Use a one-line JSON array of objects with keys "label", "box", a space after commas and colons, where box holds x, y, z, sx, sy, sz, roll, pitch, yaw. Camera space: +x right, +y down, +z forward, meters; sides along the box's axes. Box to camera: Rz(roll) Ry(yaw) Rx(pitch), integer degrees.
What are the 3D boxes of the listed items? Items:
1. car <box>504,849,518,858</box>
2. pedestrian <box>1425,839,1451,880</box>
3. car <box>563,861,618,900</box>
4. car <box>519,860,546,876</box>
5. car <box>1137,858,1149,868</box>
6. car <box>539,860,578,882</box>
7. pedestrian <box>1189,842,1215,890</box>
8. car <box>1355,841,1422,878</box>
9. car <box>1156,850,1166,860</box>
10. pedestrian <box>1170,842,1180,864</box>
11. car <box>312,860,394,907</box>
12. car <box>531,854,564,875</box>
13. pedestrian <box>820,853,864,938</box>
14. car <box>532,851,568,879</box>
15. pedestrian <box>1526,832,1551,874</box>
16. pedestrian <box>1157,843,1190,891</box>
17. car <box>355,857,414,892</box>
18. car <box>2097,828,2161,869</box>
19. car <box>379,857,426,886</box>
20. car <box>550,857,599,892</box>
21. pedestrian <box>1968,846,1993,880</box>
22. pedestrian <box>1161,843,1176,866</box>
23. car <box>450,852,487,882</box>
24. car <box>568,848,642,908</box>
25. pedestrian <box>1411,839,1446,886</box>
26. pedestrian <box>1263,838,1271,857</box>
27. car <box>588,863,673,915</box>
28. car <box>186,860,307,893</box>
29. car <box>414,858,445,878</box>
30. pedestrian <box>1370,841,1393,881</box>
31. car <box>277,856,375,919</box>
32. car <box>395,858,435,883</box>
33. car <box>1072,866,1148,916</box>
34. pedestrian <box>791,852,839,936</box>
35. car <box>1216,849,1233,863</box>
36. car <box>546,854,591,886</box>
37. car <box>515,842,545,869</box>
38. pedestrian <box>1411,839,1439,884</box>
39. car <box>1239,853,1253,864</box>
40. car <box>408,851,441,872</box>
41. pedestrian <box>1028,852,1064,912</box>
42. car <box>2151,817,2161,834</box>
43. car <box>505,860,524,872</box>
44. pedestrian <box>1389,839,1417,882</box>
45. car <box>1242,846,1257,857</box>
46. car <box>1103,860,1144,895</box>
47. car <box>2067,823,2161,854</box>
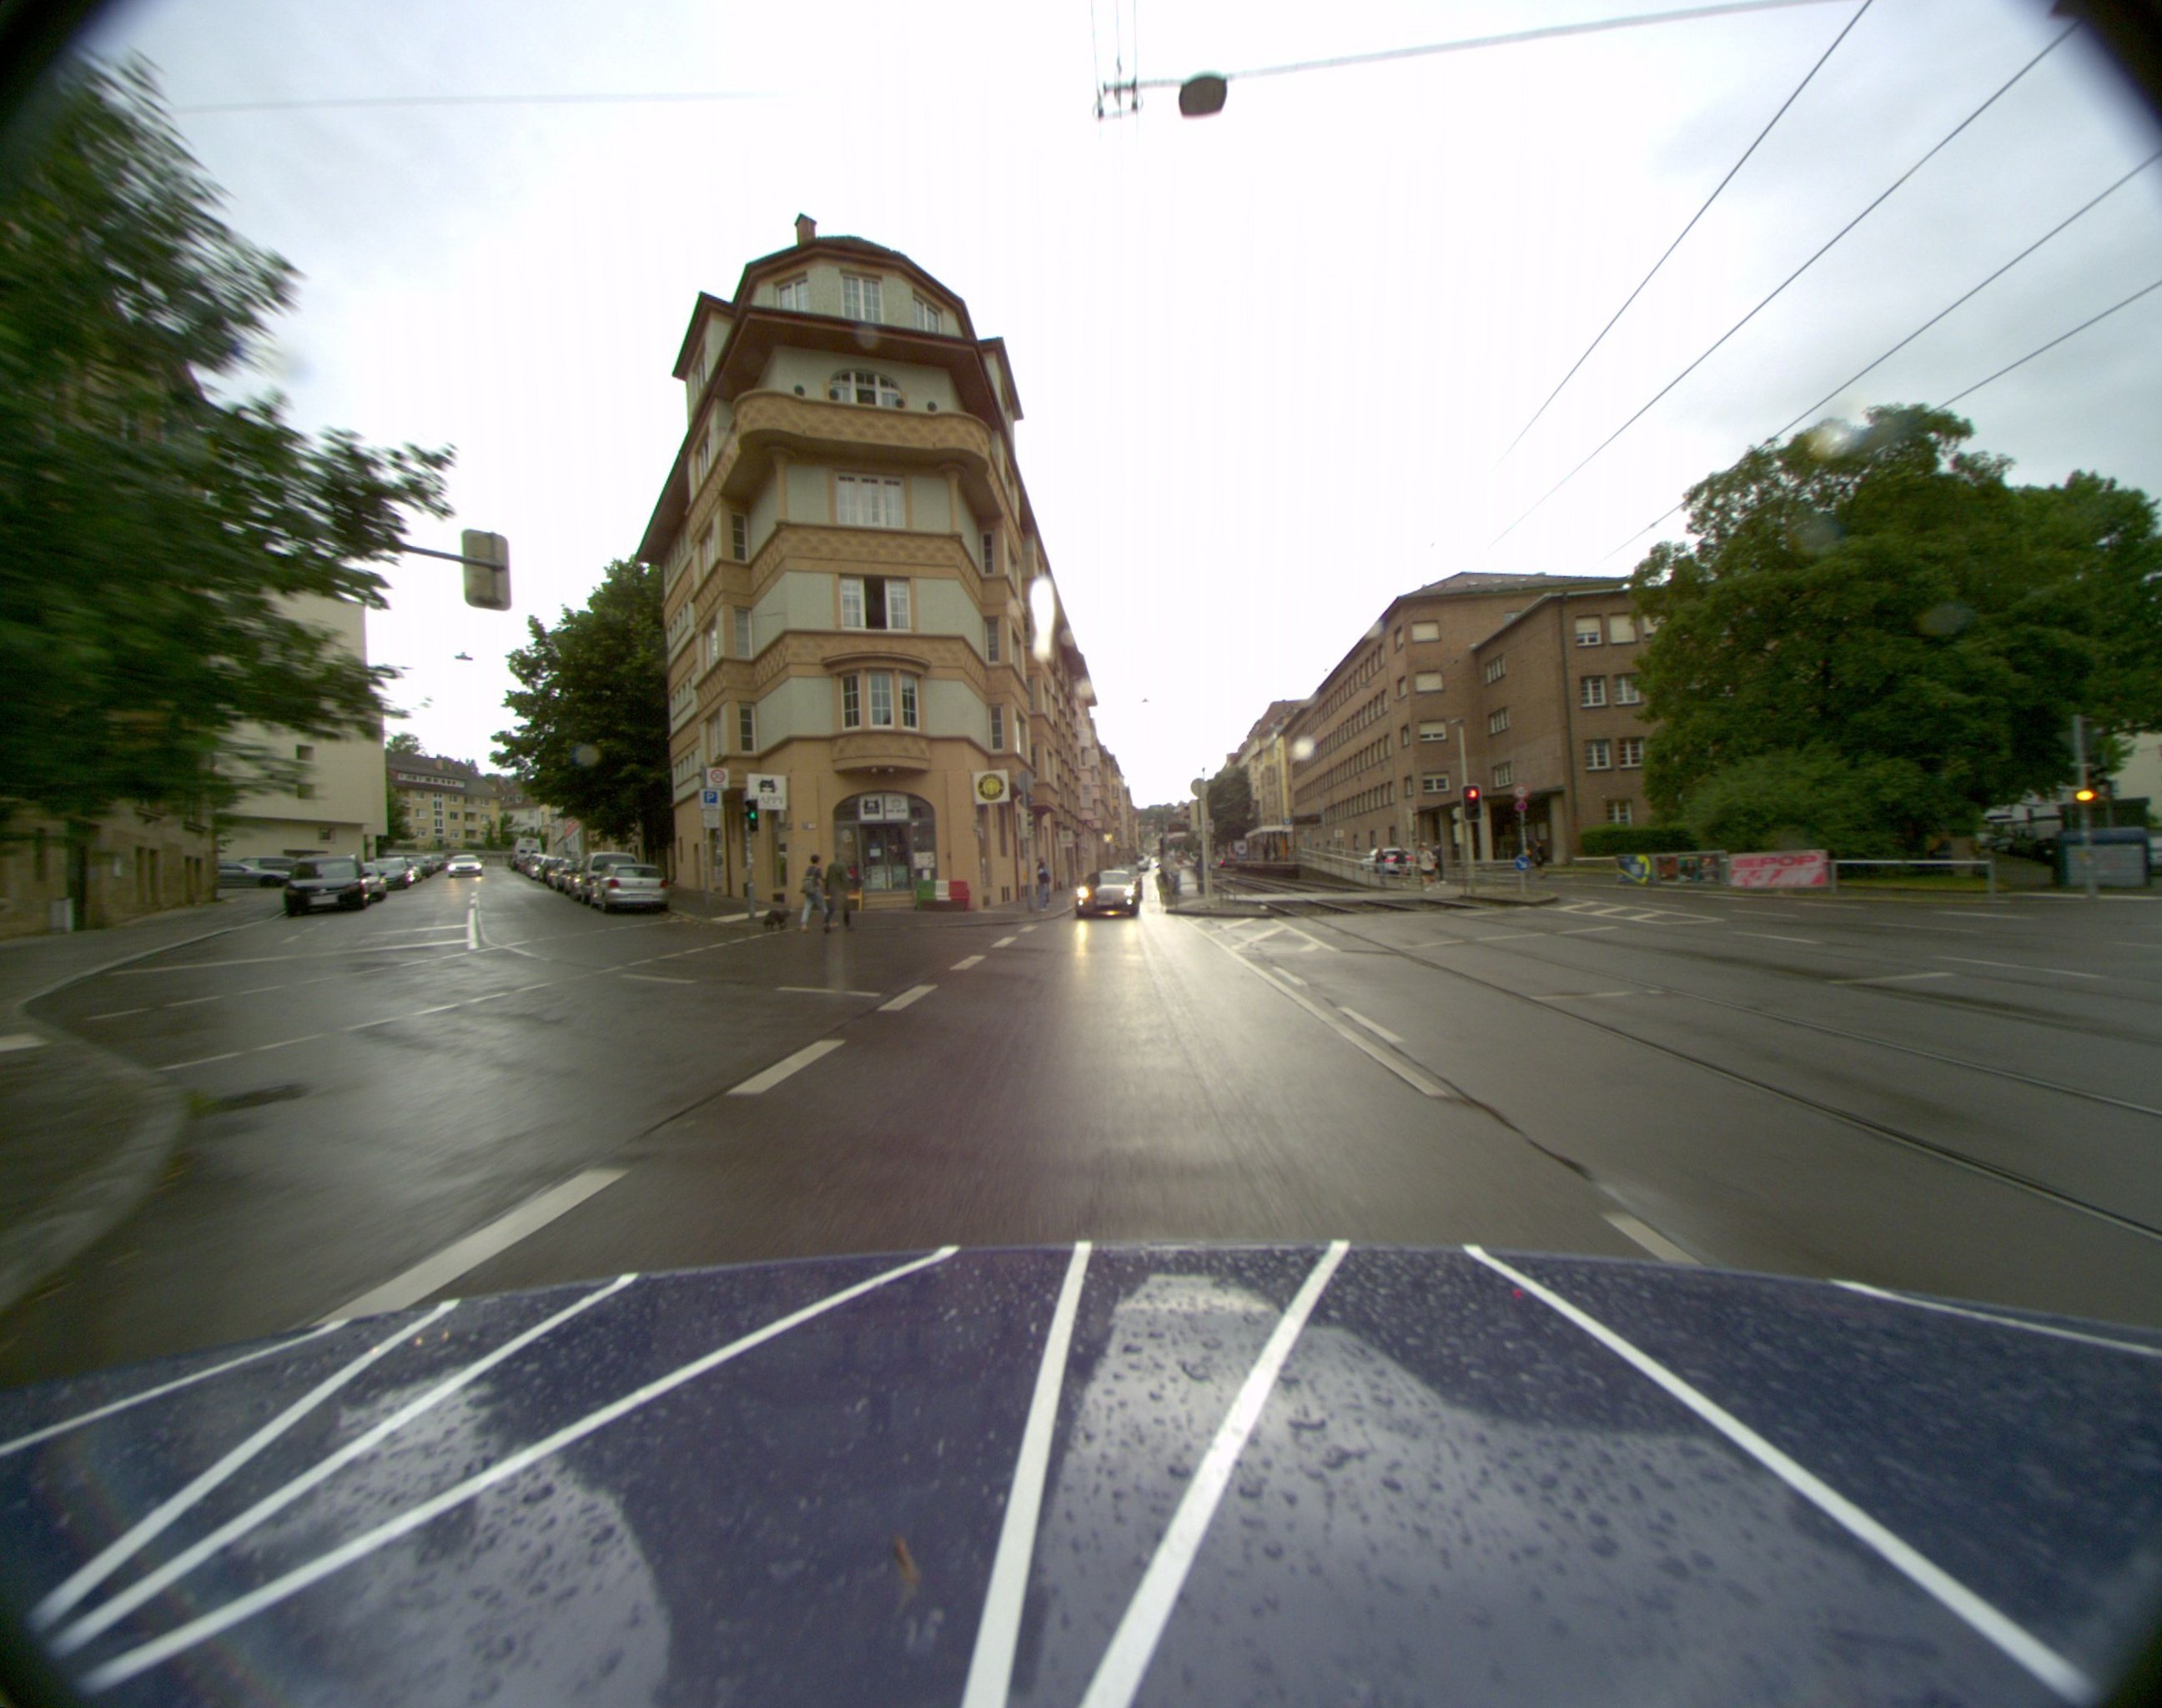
[{"label": "car", "box": [-87.613, -0.035, 116.823, 1.449, 1.166, 3.275, -5, 3, -39]}, {"label": "pedestrian", "box": [14.575, 0.216, 31.013, 0.766, 1.640, 0.649, -2, 0, 5]}, {"label": "car", "box": [-19.481, 1.031, 30.131, 1.449, 1.417, 3.290, -3, 1, -39]}, {"label": "car", "box": [-44.209, 1.103, 61.206, 1.449, 1.166, 3.275, -5, 3, -39]}, {"label": "car", "box": [9.872, 1.488, 120.350, 1.632, 1.443, 4.002, -3, 0, 7]}, {"label": "car", "box": [-29.248, 0.942, 42.489, 1.449, 1.119, 3.069, -5, 3, -39]}, {"label": "pedestrian", "box": [5.177, 0.501, 32.569, 0.899, 2.002, 0.948, -4, 0, 6]}, {"label": "car", "box": [17.222, 0.267, 42.876, 1.998, 1.619, 5.250, -1, 4, 5]}, {"label": "car", "box": [16.680, 0.242, 158.570, 1.805, 1.892, 4.001, -1, 0, 2]}, {"label": "pedestrian", "box": [7.718, -0.093, 62.322, 0.645, 1.764, 0.711, -4, 0, 6]}, {"label": "car", "box": [-27.832, 1.074, 29.185, 1.749, 1.501, 3.989, -8, 4, -38]}, {"label": "car", "box": [-34.734, 0.688, 49.441, 1.449, 1.166, 3.275, -5, 3, -39]}, {"label": "pedestrian", "box": [-5.138, 0.866, 16.376, 0.595, 1.778, 0.891, -1, 1, 2]}, {"label": "car", "box": [-32.465, 0.669, 46.410, 1.449, 1.565, 3.275, -5, 3, -39]}, {"label": "pedestrian", "box": [18.860, -0.035, 31.348, 0.605, 1.665, 0.689, -2, 0, 3]}, {"label": "pedestrian", "box": [4.011, 0.565, 32.965, 0.949, 2.002, 0.927, -4, 0, -39]}, {"label": "car", "box": [-34.859, 0.987, 38.113, 1.749, 1.501, 3.989, -8, 4, -38]}, {"label": "car", "box": [39.422, -0.236, 28.143, 4.008, 1.395, 1.737, -2, 0, -43]}, {"label": "car", "box": [-41.027, 1.015, 46.026, 1.749, 1.501, 3.989, -8, 4, -38]}, {"label": "car", "box": [-23.116, 0.897, 34.631, 1.449, 1.417, 3.290, -5, 3, -39]}, {"label": "pedestrian", "box": [28.768, 0.280, 24.298, 0.417, 1.078, 0.283, -2, 0, 29]}, {"label": "pedestrian", "box": [6.914, 0.028, 60.049, 1.116, 1.764, 1.112, -4, 0, 6]}, {"label": "car", "box": [-42.603, 0.904, 52.862, 1.749, 1.862, 3.989, -8, 4, -38]}, {"label": "car", "box": [-16.669, 0.805, 26.545, 1.608, 1.834, 3.545, -5, 3, -39]}, {"label": "pedestrian", "box": [11.949, 0.296, 26.110, 0.958, 1.573, 0.693, -3, 0, -40]}, {"label": "pedestrian", "box": [17.019, -0.563, 69.610, 0.588, 1.699, 0.491, -2, 0, 5]}, {"label": "car", "box": [-13.595, 1.003, 22.859, 1.694, 1.451, 3.525, 1, -1, -39]}, {"label": "car", "box": [-44.387, 1.197, 40.528, 4.006, 1.474, 1.739, -3, 0, -36]}, {"label": "car", "box": [-58.822, 1.239, 68.640, 1.749, 1.631, 3.989, -8, 4, -38]}, {"label": "pedestrian", "box": [13.104, 0.279, 33.130, 0.666, 1.689, 0.688, -4, 1, 3]}, {"label": "car", "box": [-24.358, 1.010, 24.670, 1.749, 1.716, 4.345, -6, 4, -40]}, {"label": "car", "box": [-46.700, 1.169, 53.319, 1.749, 1.501, 3.989, -8, 4, -38]}, {"label": "car", "box": [0.965, 1.069, 23.041, 1.703, 1.280, 4.199, -2, 0, 10]}, {"label": "pedestrian", "box": [-5.785, 0.855, 16.569, 0.683, 1.778, 0.902, -1, 1, 2]}, {"label": "car", "box": [20.891, 0.325, 110.730, 1.998, 2.002, 4.002, -1, 0, 6]}, {"label": "car", "box": [-25.430, 0.788, 37.638, 1.449, 1.417, 3.290, -5, 3, -39]}, {"label": "car", "box": [-50.849, 0.144, 70.086, 1.954, 2.443, 3.802, -2, 0, -39]}, {"label": "pedestrian", "box": [13.369, 0.287, 29.524, 0.745, 1.638, 0.641, -4, 3, 6]}, {"label": "car", "box": [24.844, 0.664, 114.285, 1.648, 1.571, 4.341, -3, 0, 7]}, {"label": "car", "box": [-55.780, 0.646, 64.605, 1.749, 1.631, 3.989, -8, 4, -38]}, {"label": "pedestrian", "box": [-1.097, 0.866, 23.986, 0.967, 1.830, 0.903, 1, 0, 6]}, {"label": "car", "box": [95.718, -2.547, 66.909, 3.708, 1.395, 1.567, -2, 0, -38]}, {"label": "car", "box": [-61.191, 1.307, 82.053, 1.449, 1.166, 3.275, -5, 3, -39]}, {"label": "pedestrian", "box": [13.339, 0.264, 31.498, 0.745, 1.686, 0.883, -4, 1, 4]}, {"label": "car", "box": [23.496, -0.304, 105.790, 1.648, 1.457, 3.113, -3, 0, 7]}, {"label": "car", "box": [1.968, 1.043, 34.410, 1.689, 1.451, 3.300, -2, 0, 6]}, {"label": "car", "box": [52.701, -0.795, 38.028, 1.745, 1.469, 3.989, -2, 0, -41]}]
